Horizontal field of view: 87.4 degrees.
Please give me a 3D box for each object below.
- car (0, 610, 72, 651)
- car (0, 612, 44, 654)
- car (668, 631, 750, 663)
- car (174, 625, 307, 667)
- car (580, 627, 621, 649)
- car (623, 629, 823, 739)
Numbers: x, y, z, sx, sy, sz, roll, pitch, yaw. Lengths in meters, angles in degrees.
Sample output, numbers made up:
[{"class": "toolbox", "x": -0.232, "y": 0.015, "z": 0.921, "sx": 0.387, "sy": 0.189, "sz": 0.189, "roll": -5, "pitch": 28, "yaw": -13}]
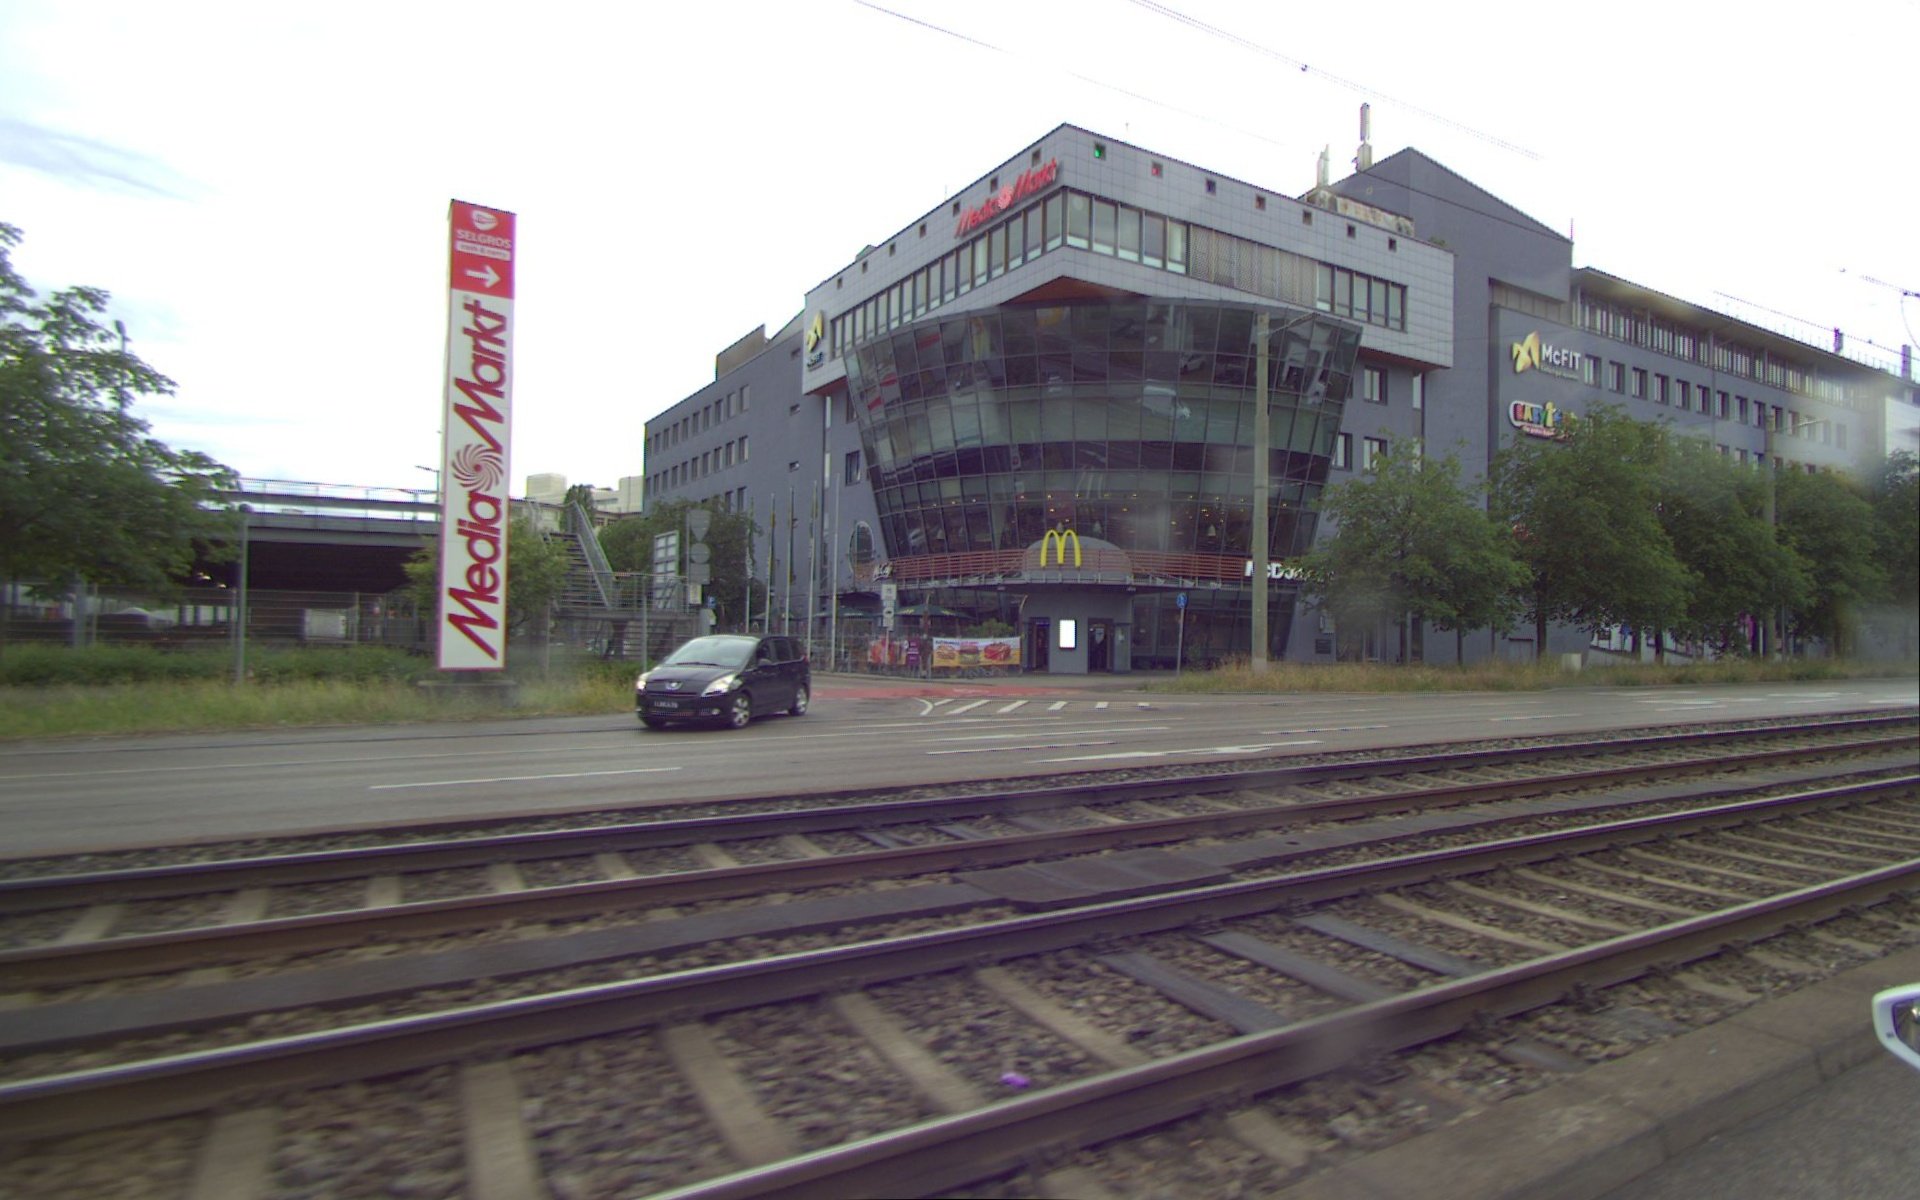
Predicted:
[{"class": "car", "x": -48.456, "y": 1.569, "z": 51.547, "sx": 3.954, "sy": 2.040, "sz": 1.984, "roll": 1, "pitch": -2, "yaw": -31}, {"class": "car", "x": -47.630, "y": 1.614, "z": 49.014, "sx": 3.954, "sy": 2.040, "sz": 1.984, "roll": 1, "pitch": -2, "yaw": -31}, {"class": "car", "x": -13.688, "y": 2.544, "z": 54.906, "sx": 3.969, "sy": 1.591, "sz": 1.745, "roll": 2, "pitch": 1, "yaw": -41}, {"class": "car", "x": -26.729, "y": 1.684, "z": 37.377, "sx": 4.025, "sy": 1.299, "sz": 1.664, "roll": 2, "pitch": 1, "yaw": 10}, {"class": "car", "x": -28.113, "y": 2.931, "z": 78.454, "sx": 1.981, "sy": 1.498, "sz": 4.121, "roll": 1, "pitch": 1, "yaw": -36}, {"class": "car", "x": -4.141, "y": 1.451, "z": 18.332, "sx": 1.959, "sy": 1.758, "sz": 4.216, "roll": 0, "pitch": -3, "yaw": 11}]
